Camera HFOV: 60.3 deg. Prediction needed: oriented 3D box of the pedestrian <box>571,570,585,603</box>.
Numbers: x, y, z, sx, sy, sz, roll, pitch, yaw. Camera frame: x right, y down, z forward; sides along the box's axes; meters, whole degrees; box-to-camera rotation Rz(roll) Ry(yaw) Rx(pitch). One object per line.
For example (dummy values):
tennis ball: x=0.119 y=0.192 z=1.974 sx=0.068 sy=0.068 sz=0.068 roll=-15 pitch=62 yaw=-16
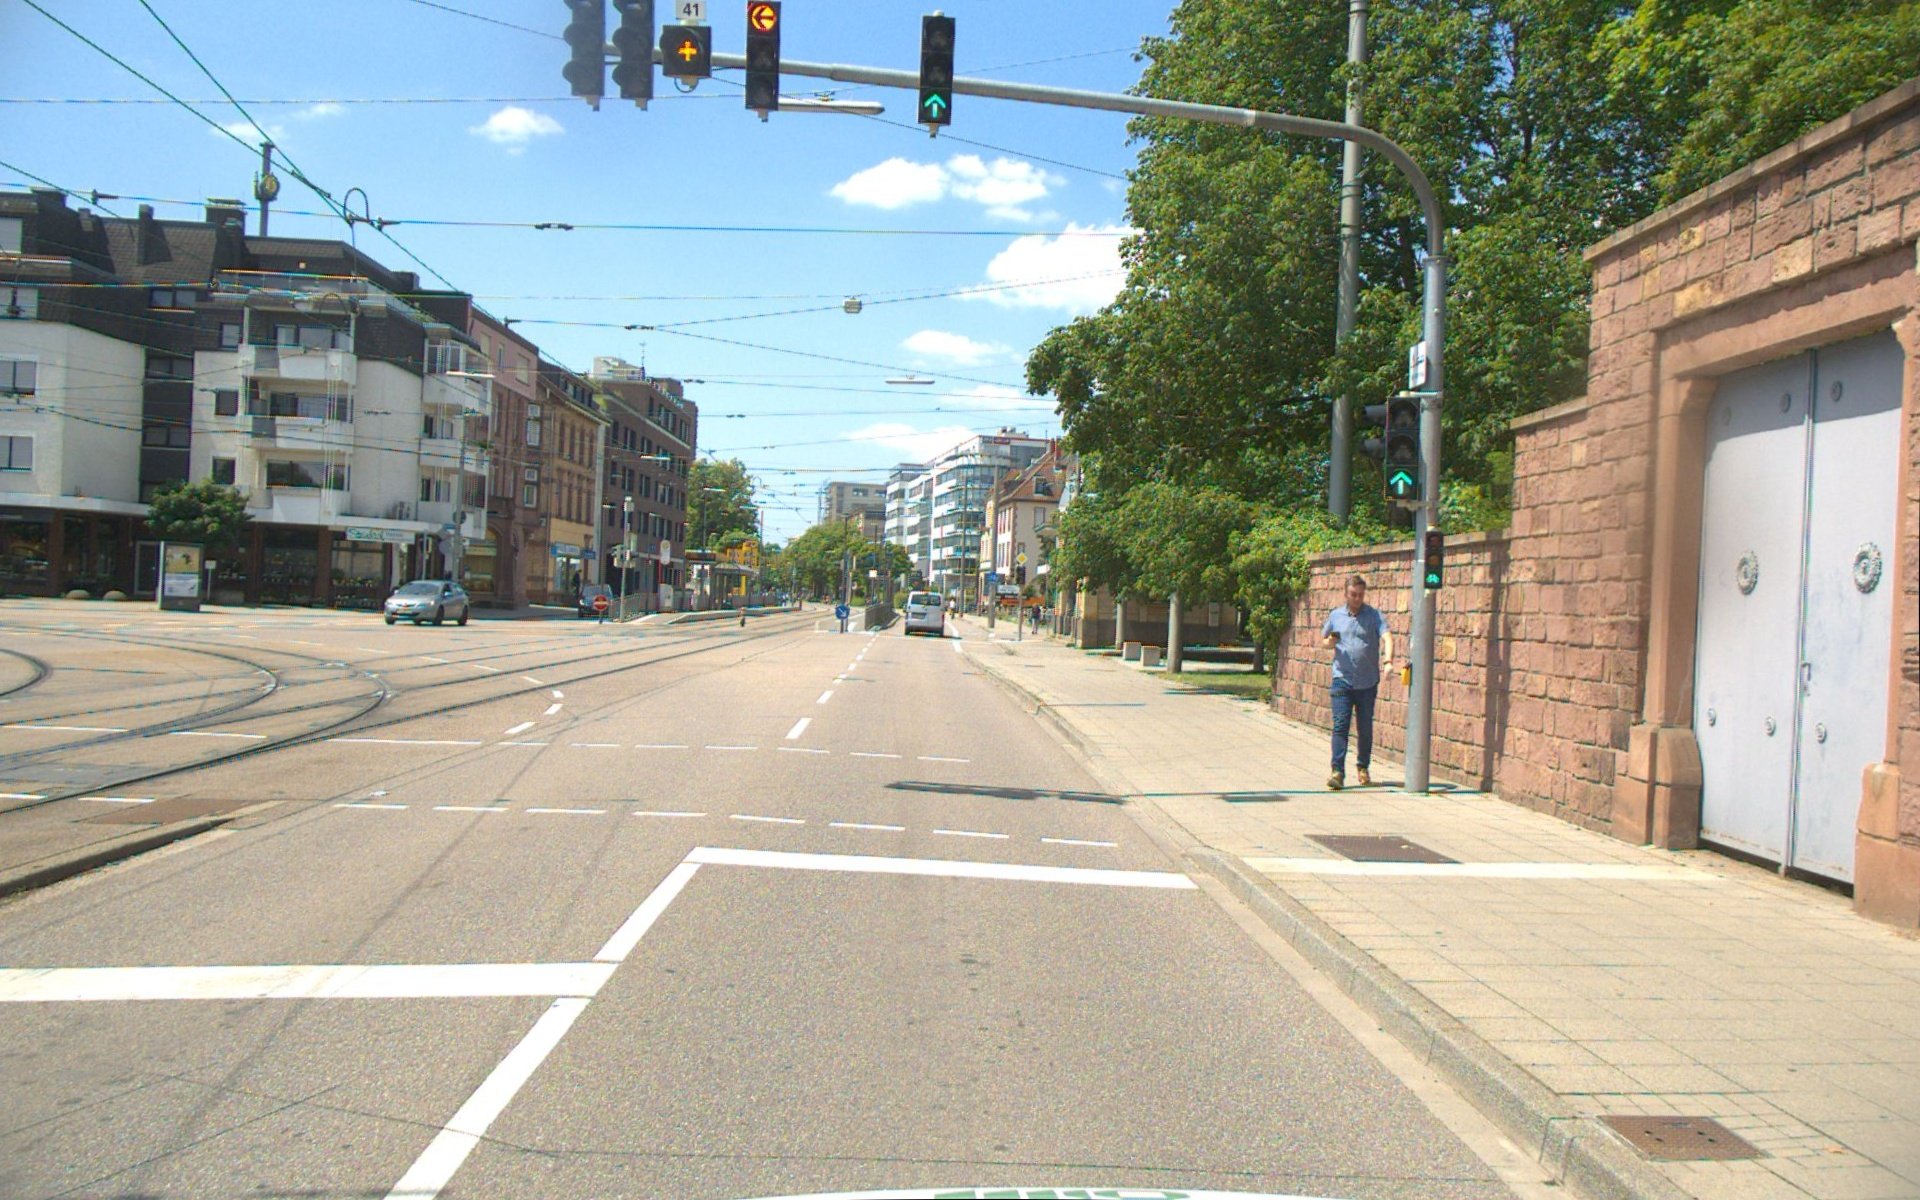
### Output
pedestrian: x=-24.233 y=-0.829 z=105.054 sx=0.605 sy=2.049 sz=0.810 roll=4 pitch=-1 yaw=-4

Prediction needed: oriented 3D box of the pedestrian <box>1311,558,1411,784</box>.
pedestrian: x=3.438 y=0.597 z=14.221 sx=0.700 sy=1.884 sz=0.768 roll=-1 pitch=-1 yaw=5

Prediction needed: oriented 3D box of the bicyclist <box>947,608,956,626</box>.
bicyclist: x=-0.675 y=1.350 z=133.045 sx=0.579 sy=1.421 sz=0.841 roll=3 pitch=0 yaw=-4

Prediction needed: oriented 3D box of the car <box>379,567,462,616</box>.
car: x=-17.940 y=-0.281 z=55.178 sx=1.957 sy=1.497 sz=4.390 roll=2 pitch=0 yaw=-10

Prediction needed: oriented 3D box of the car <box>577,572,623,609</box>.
car: x=-18.020 y=-0.510 z=83.004 sx=1.690 sy=1.712 sz=4.275 roll=3 pitch=1 yaw=-5

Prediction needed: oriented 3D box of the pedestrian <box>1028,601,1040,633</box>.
pedestrian: x=3.693 y=0.855 z=82.608 sx=0.565 sy=1.583 sz=0.786 roll=1 pitch=-1 yaw=2

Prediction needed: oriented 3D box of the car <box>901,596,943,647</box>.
car: x=-1.610 y=0.892 z=71.266 sx=1.716 sy=2.049 sz=4.000 roll=2 pitch=1 yaw=0
